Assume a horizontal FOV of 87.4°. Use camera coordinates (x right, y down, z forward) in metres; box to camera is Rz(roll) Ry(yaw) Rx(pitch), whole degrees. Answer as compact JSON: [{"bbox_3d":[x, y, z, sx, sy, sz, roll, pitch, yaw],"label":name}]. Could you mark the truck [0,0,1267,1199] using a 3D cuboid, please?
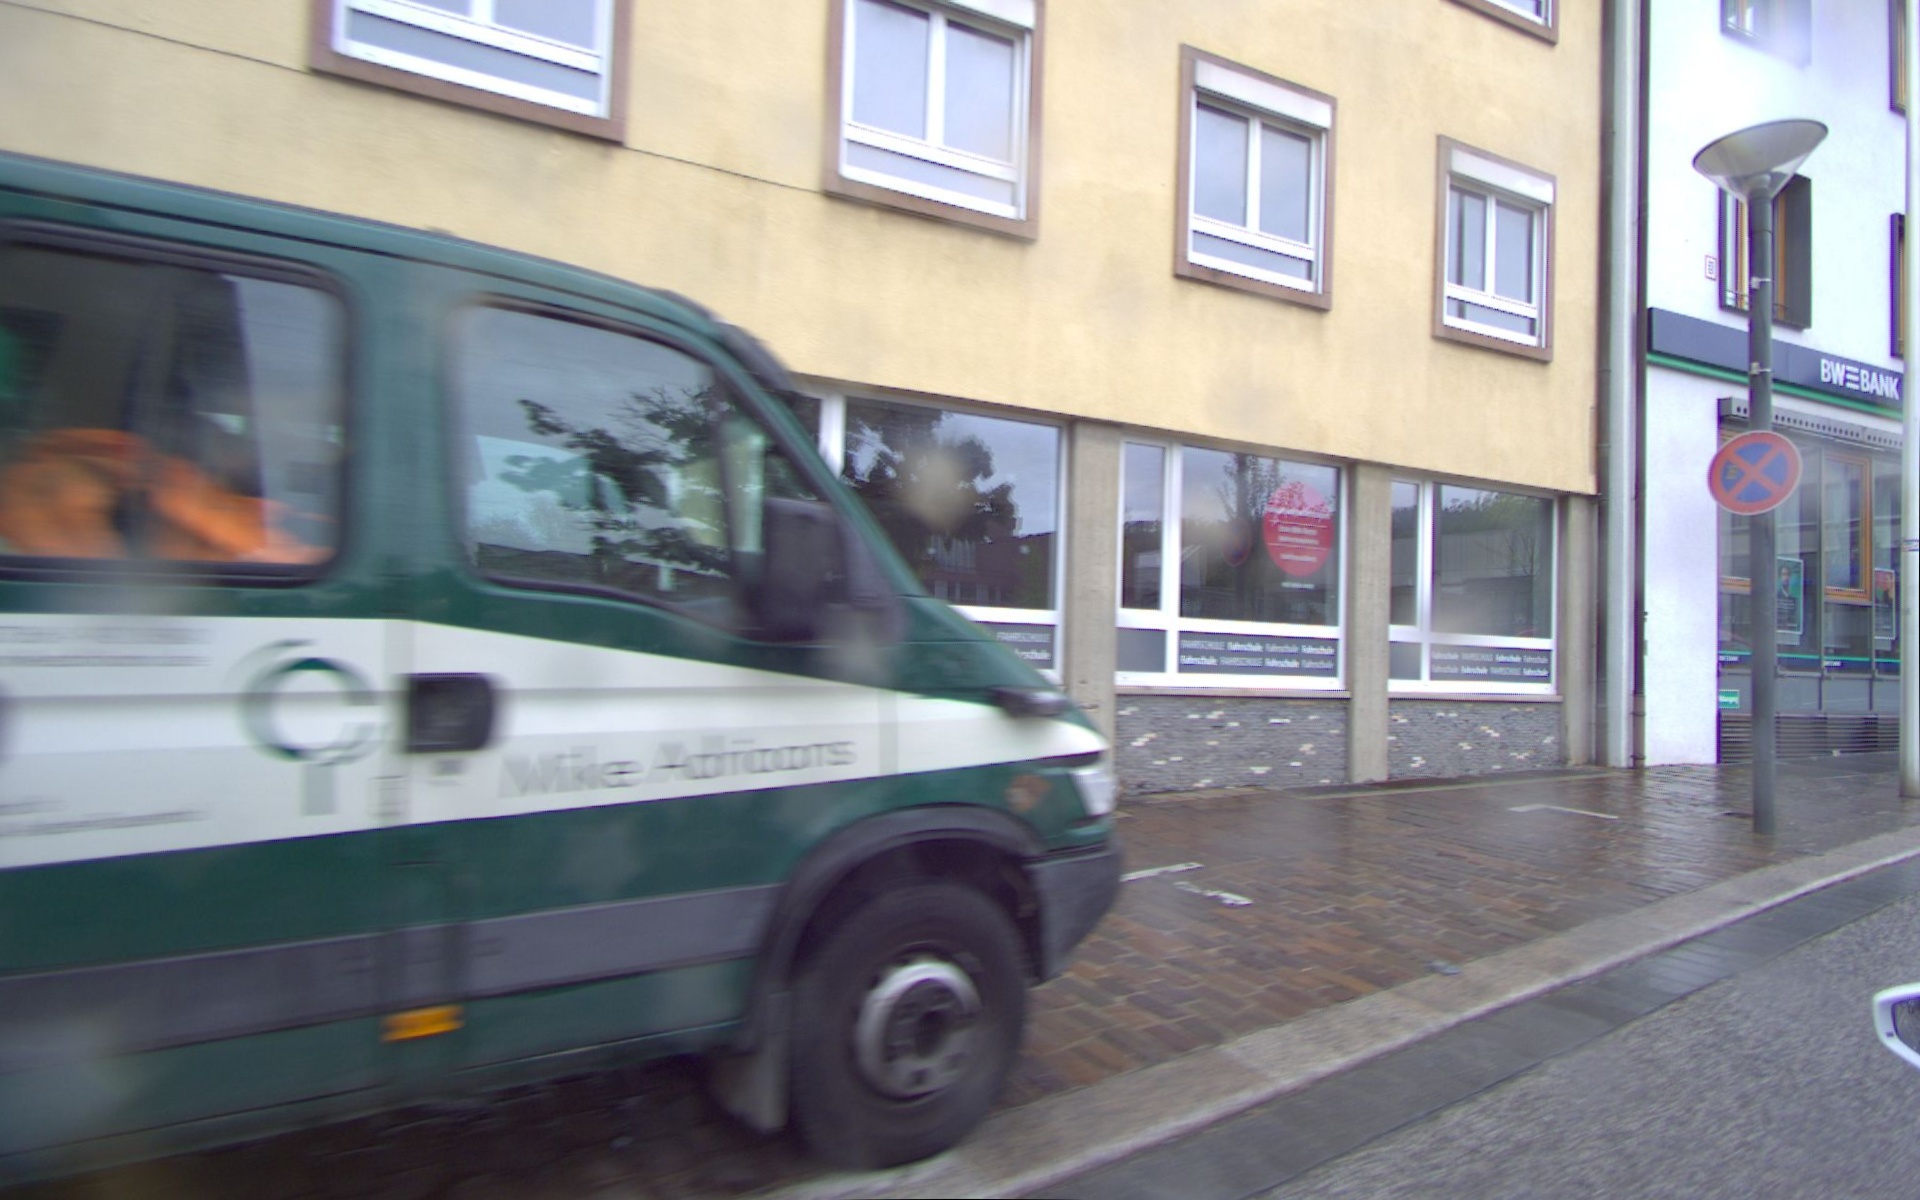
[{"bbox_3d":[-2.491,0.020,2.410,6.524,2.831,2.461,1,-3,-31],"label":"truck"}]
